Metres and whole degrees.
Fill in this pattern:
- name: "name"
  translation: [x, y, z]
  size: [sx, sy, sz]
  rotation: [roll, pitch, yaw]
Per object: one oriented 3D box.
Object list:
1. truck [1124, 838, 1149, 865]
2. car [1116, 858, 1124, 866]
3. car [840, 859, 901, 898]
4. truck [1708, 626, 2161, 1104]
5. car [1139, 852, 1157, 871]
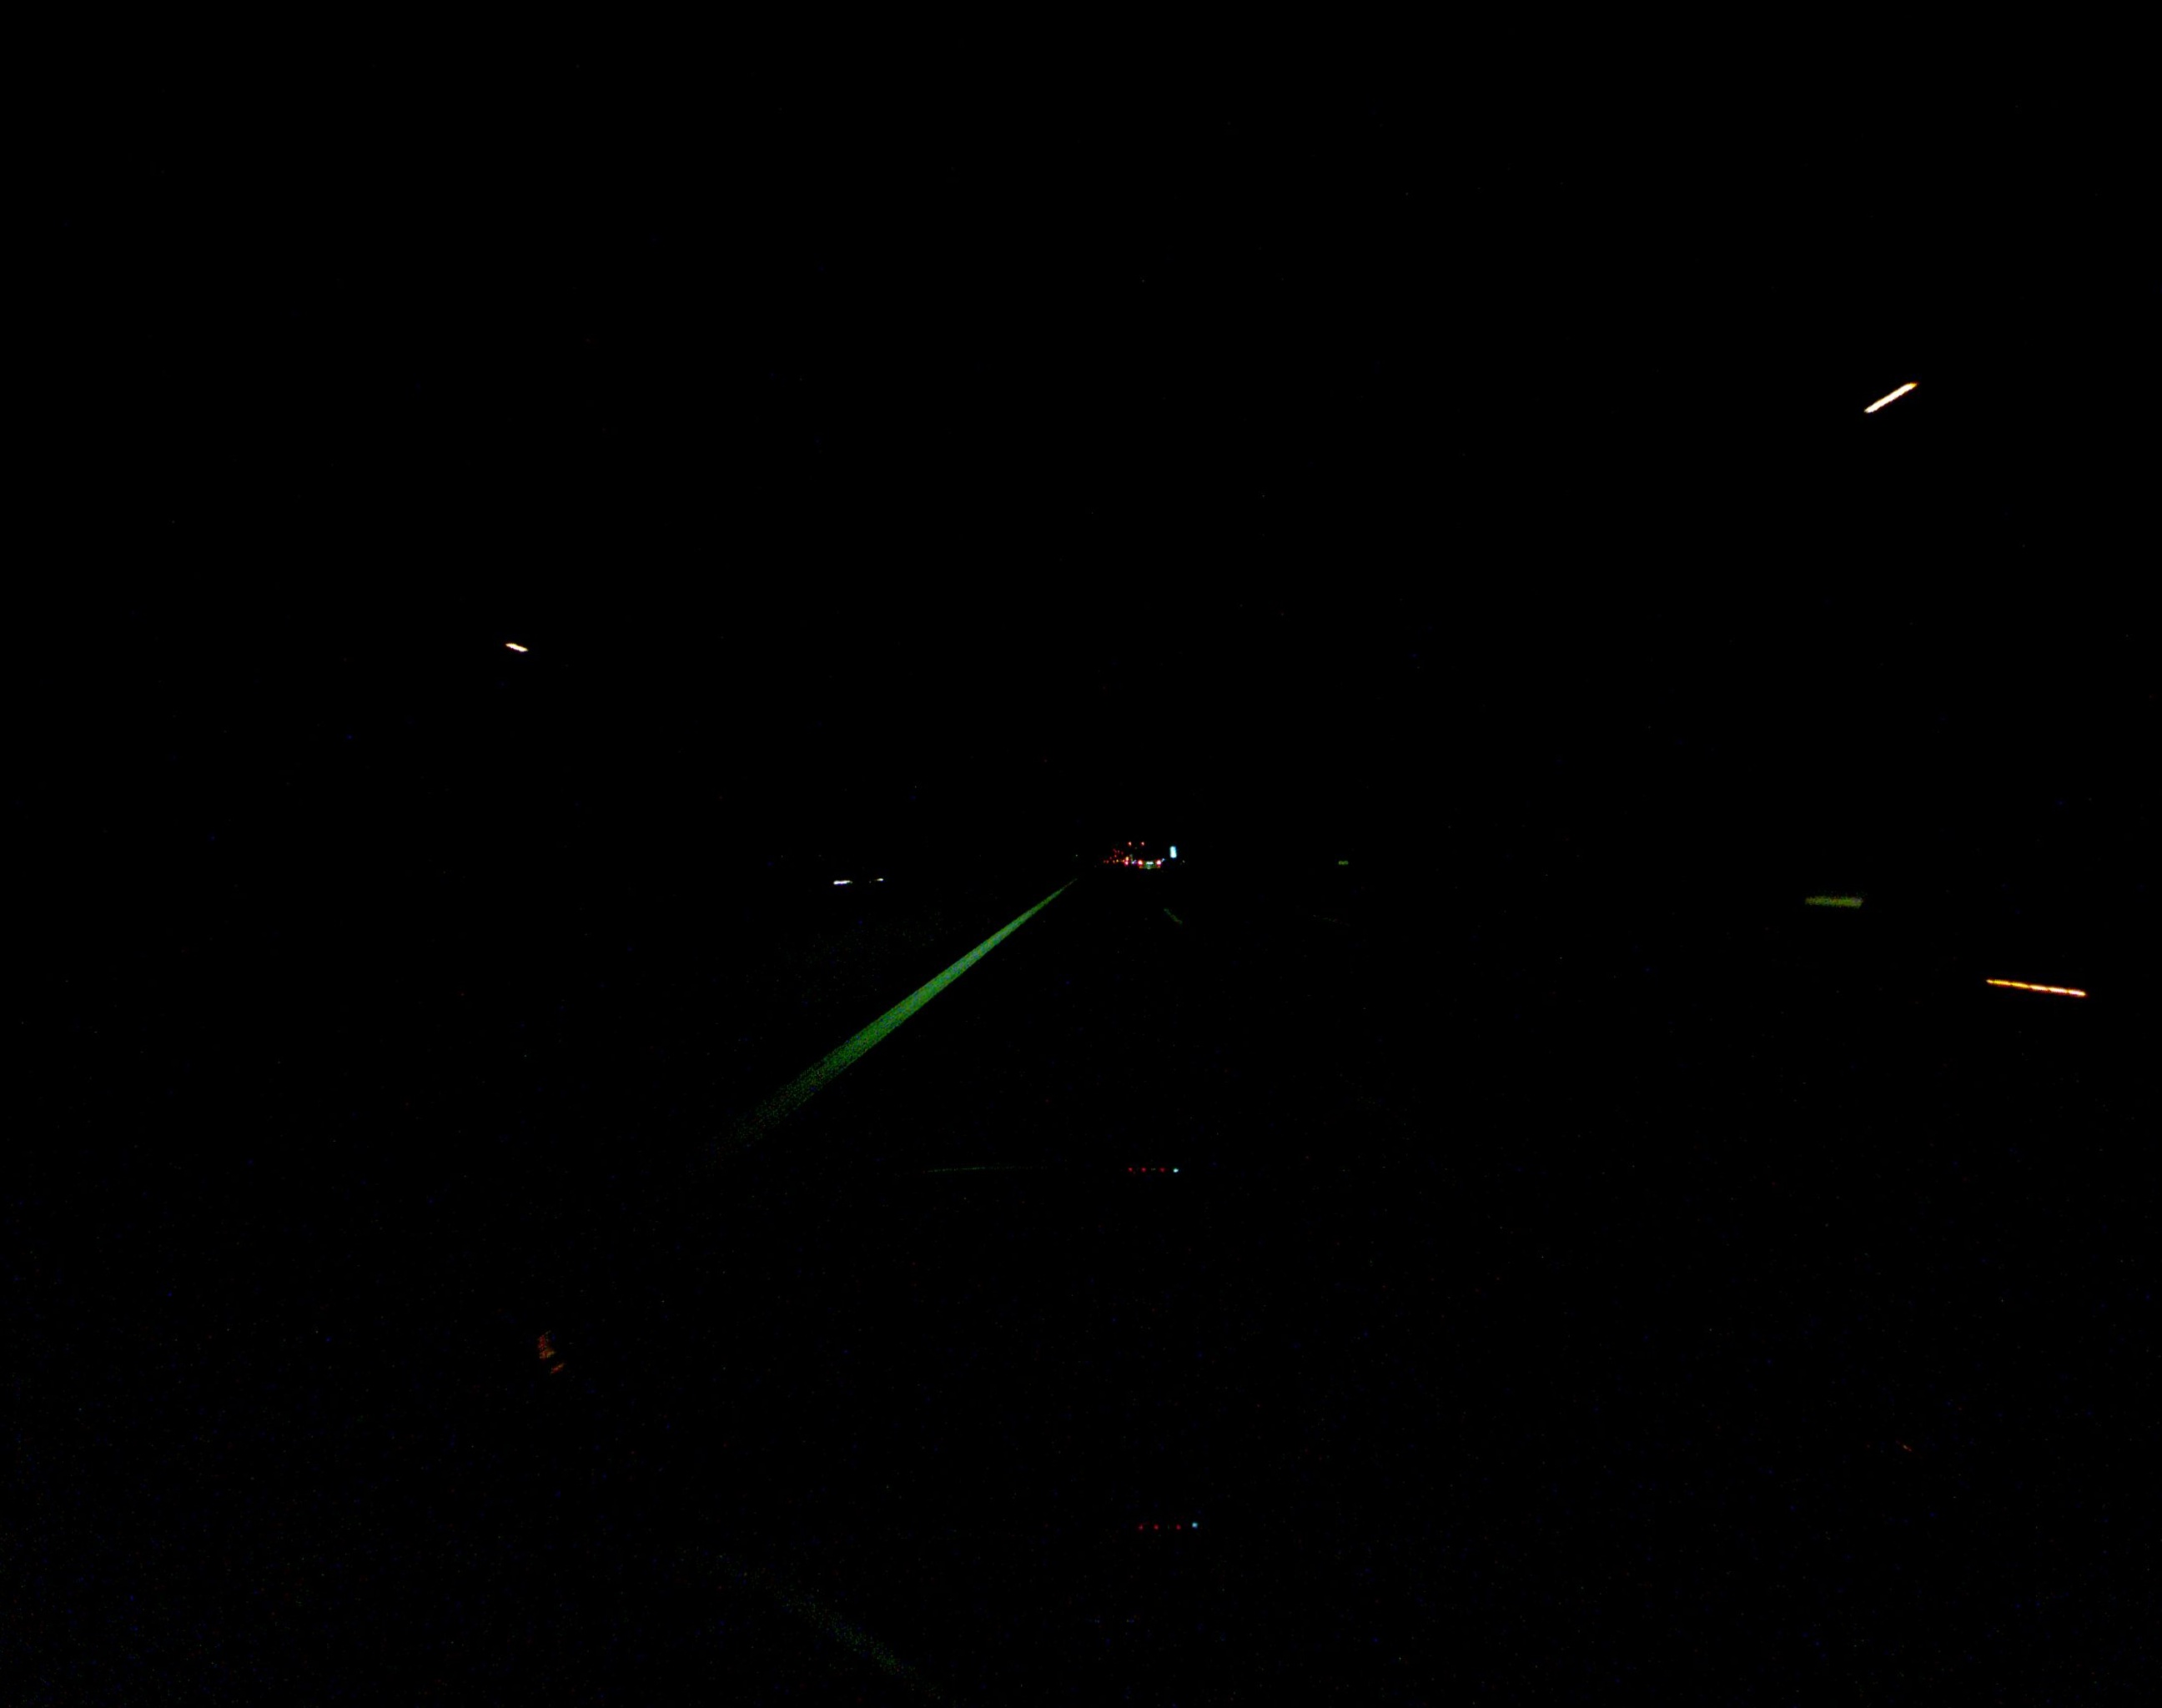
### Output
- name: "truck"
  translation: [7.418, -0.404, 109.646]
  size: [3.032, 3.324, 10.149]
  rotation: [0, 1, 2]
- name: "car"
  translation: [8.753, 1.790, 182.545]
  size: [1.813, 1.466, 4.251]
  rotation: [0, 1, 3]
- name: "car"
  translation: [-10.716, 1.189, 41.827]
  size: [1.682, 1.755, 5.059]
  rotation: [0, 1, 1]
- name: "truck"
  translation: [7.111, 0.060, 4.316]
  size: [2.069, 2.691, 7.309]
  rotation: [0, 0, 1]
- name: "car"
  translation: [5.458, 0.595, 66.256]
  size: [1.341, 1.387, 3.504]
  rotation: [0, 1, 3]
